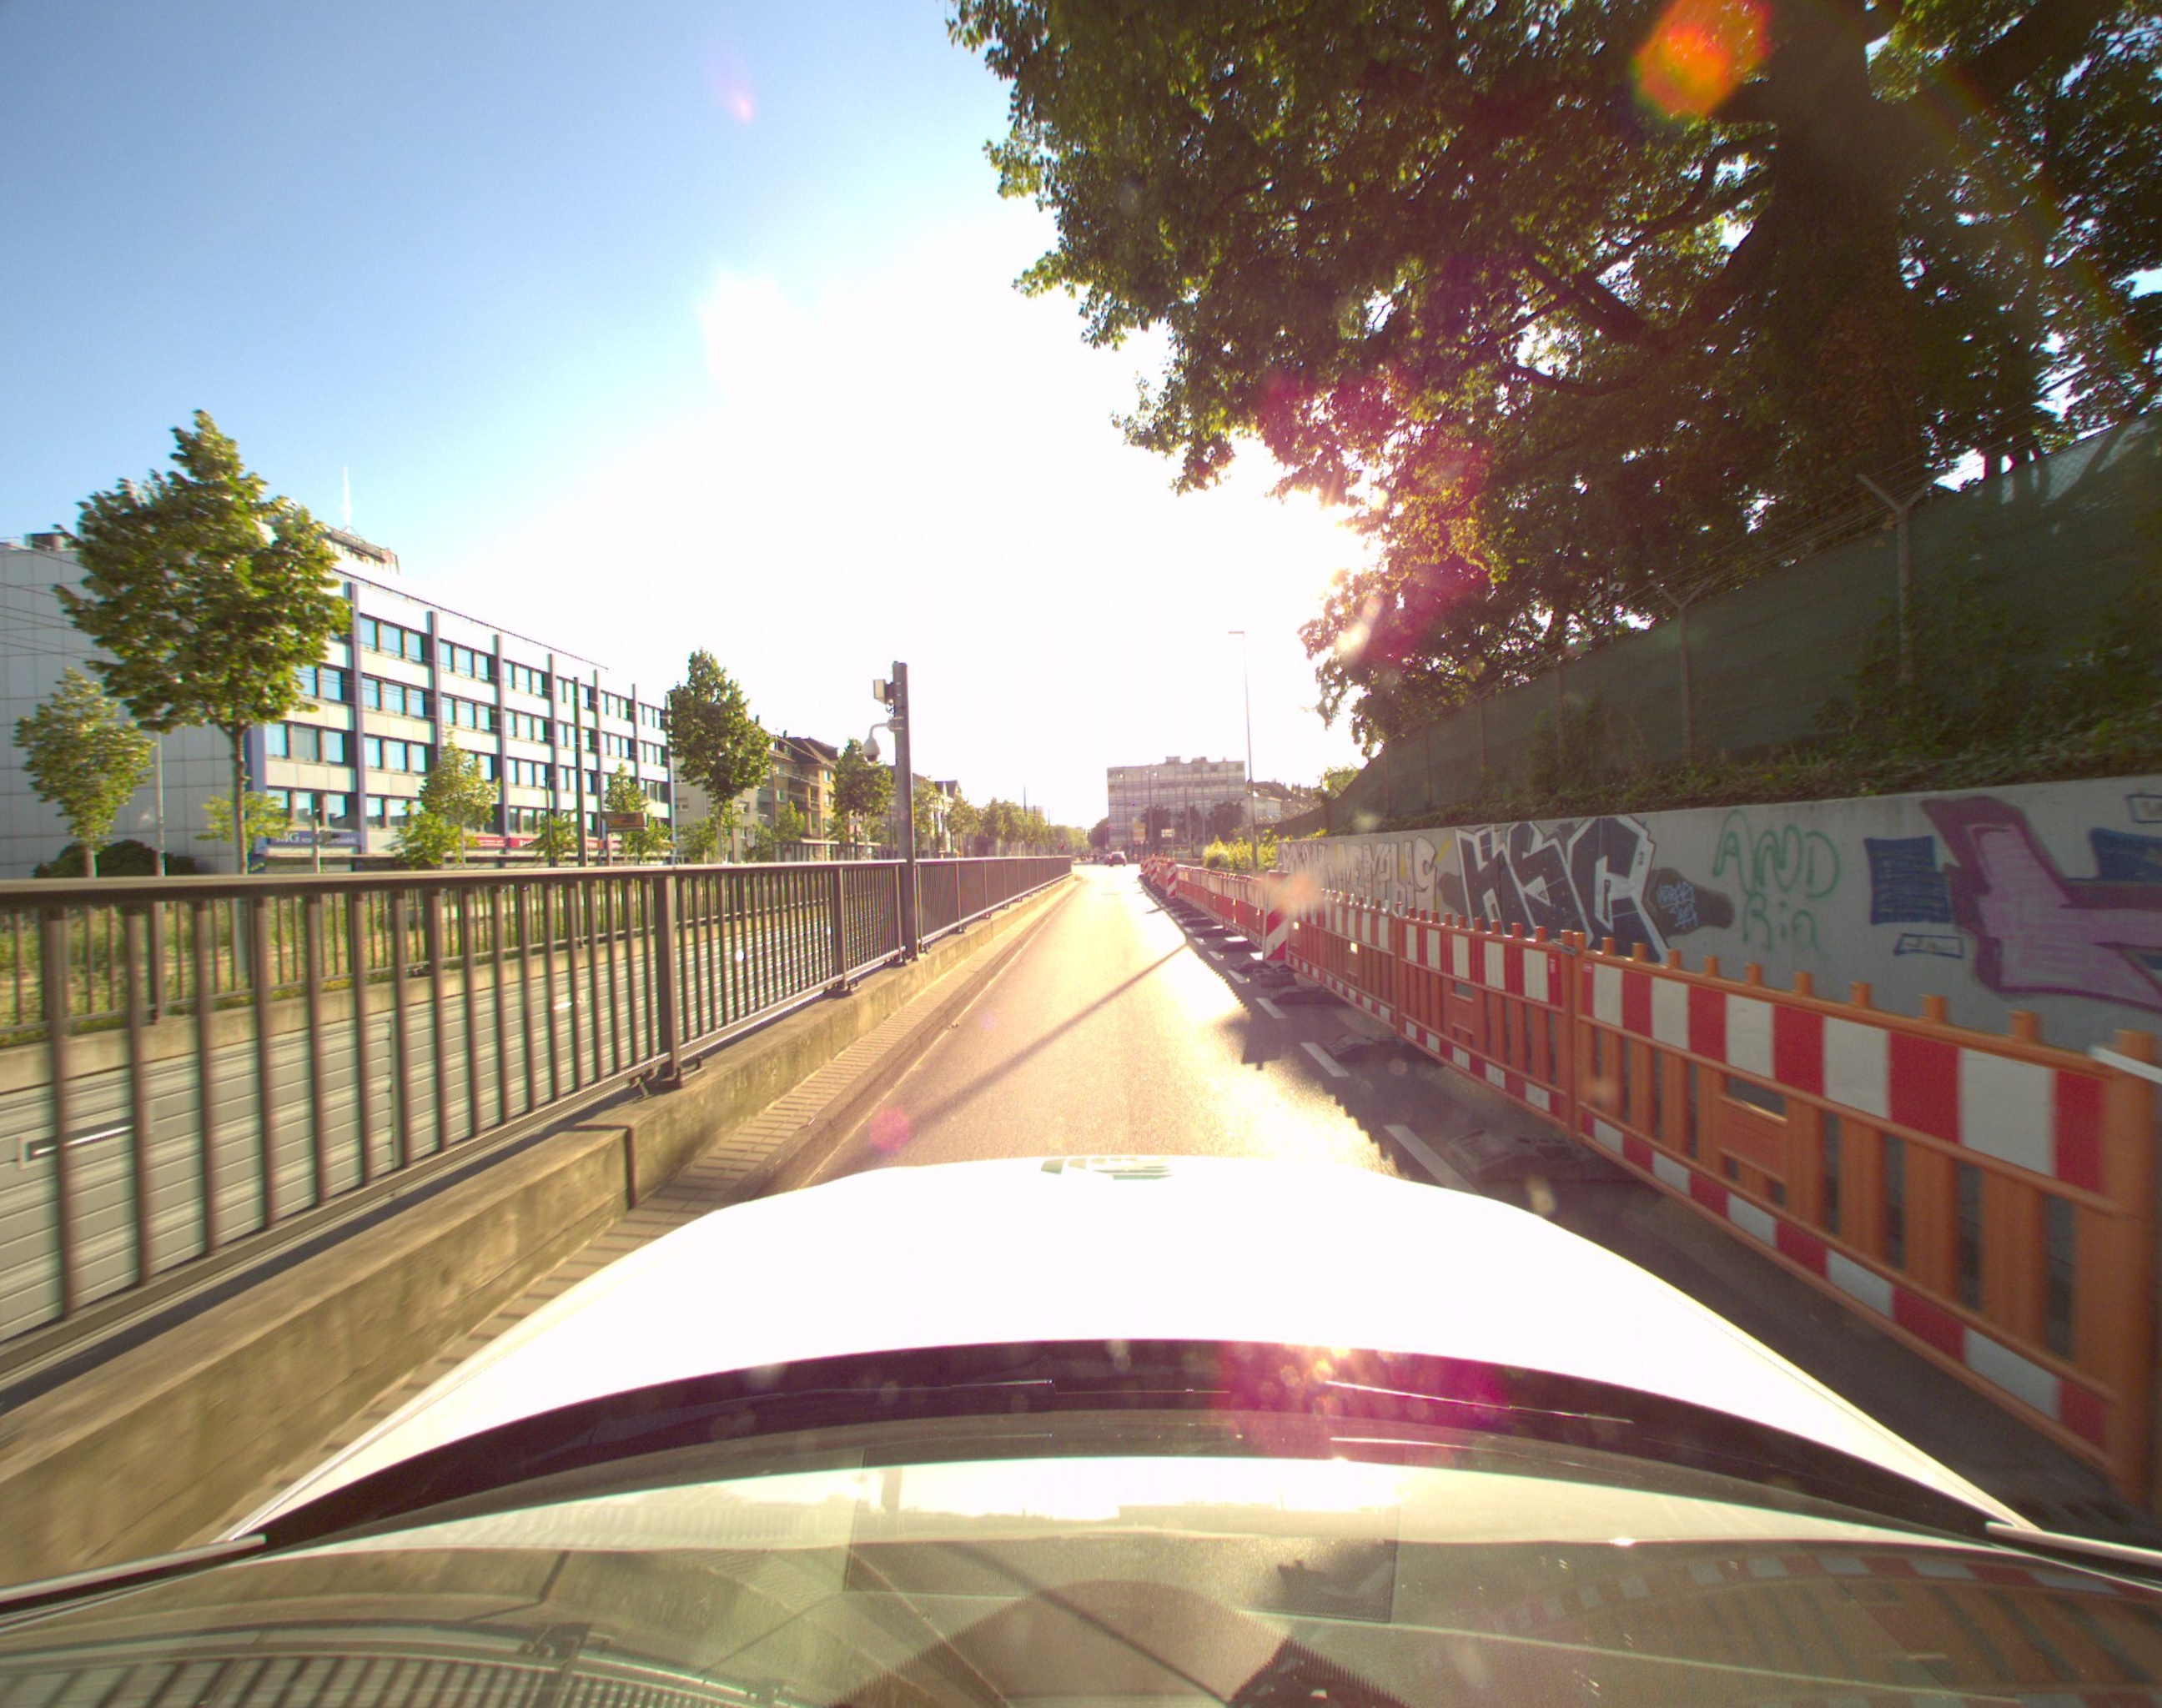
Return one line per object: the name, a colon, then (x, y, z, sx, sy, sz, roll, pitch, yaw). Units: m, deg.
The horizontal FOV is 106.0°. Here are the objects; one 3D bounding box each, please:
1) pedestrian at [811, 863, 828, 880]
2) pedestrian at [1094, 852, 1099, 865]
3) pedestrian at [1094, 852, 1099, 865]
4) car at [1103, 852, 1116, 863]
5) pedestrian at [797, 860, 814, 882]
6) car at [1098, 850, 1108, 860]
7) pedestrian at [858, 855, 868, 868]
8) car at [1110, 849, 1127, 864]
pedestrian: (-18.783, 1.242, 58.477, 0.930, 1.197, 0.764, -2, 0, 1)
pedestrian: (2.517, 0.710, 130.404, 0.610, 2.013, 0.511, -2, 0, 5)
pedestrian: (2.452, 0.711, 129.847, 0.610, 2.013, 0.511, -2, 0, 5)
car: (4.045, 0.462, 115.919, 1.737, 1.426, 4.002, -2, 0, 2)
pedestrian: (-18.903, 1.170, 55.906, 0.835, 1.410, 0.804, -2, 0, 1)
car: (6.012, 0.323, 220.179, 2.477, 2.392, 5.935, -4, 0, 1)
pedestrian: (-18.253, 0.632, 68.206, 0.625, 1.047, 0.794, -2, 0, 1)
car: (4.614, 0.303, 100.062, 1.986, 1.693, 4.002, -1, 1, 2)
